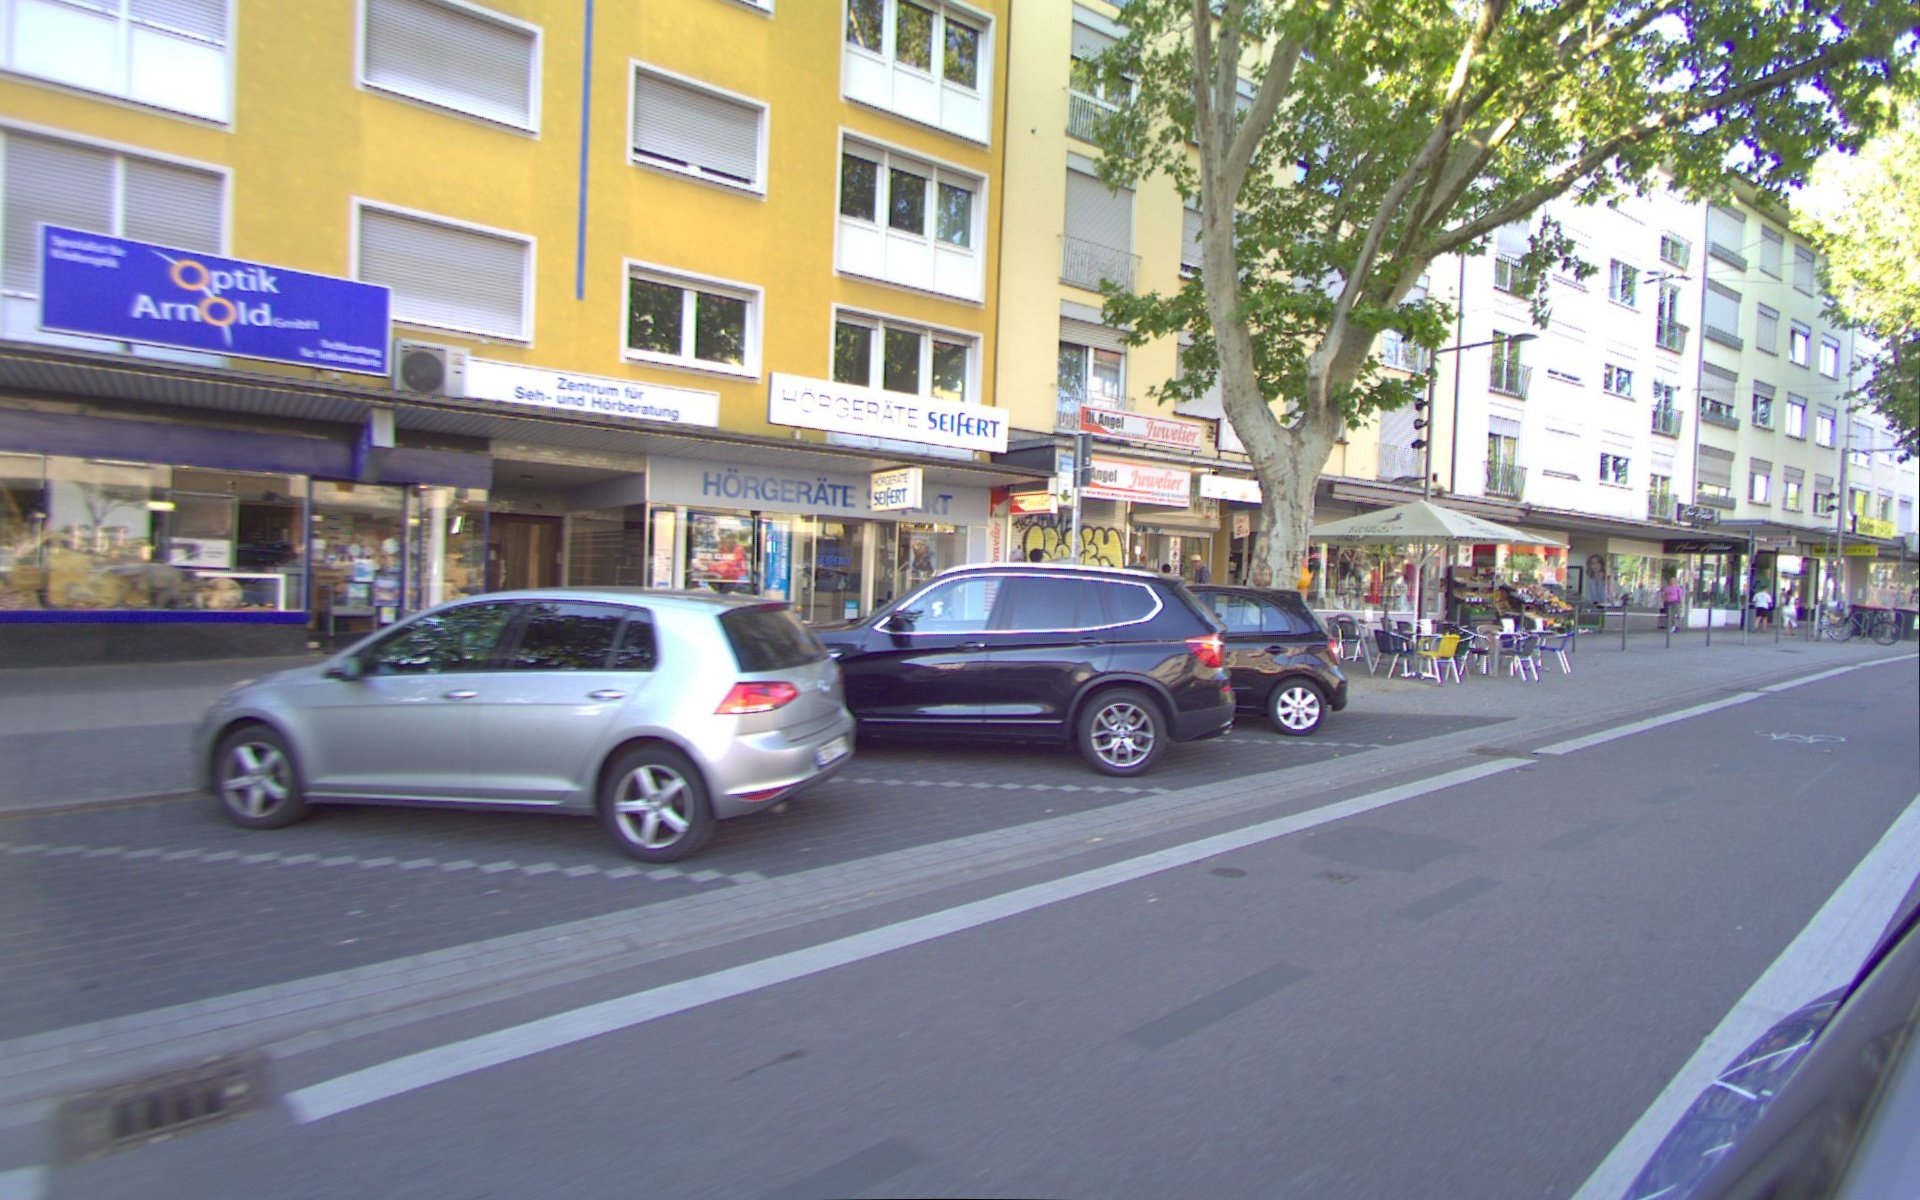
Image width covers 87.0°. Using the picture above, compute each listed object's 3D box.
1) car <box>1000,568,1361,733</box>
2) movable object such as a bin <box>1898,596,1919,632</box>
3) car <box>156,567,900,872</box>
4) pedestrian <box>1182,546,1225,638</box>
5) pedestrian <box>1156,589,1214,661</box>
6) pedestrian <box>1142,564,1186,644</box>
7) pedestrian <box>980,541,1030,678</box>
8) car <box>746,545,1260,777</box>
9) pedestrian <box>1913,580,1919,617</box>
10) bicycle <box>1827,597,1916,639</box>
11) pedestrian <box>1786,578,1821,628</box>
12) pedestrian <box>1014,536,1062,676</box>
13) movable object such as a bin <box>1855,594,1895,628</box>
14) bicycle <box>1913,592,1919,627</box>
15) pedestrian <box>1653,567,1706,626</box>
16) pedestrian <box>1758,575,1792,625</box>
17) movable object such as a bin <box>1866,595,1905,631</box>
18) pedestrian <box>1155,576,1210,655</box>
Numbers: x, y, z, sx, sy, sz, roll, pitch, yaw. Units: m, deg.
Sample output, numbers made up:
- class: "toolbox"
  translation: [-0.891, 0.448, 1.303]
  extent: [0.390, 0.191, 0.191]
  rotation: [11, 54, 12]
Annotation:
- class: "car"
  translation: [2.313, 0.463, 11.139]
  extent: [3.549, 1.559, 1.738]
  rotation: [2, 2, 9]
- class: "movable object such as a bin"
  translation: [31.333, 0.475, 33.075]
  extent: [0.631, 1.115, 0.726]
  rotation: [0, 6, -27]
- class: "car"
  translation: [-2.604, 0.569, 6.475]
  extent: [4.113, 1.469, 1.804]
  rotation: [2, 2, 12]
- class: "pedestrian"
  translation: [4.946, -0.173, 20.590]
  extent: [0.614, 1.826, 0.638]
  rotation: [1, 1, -5]
- class: "pedestrian"
  translation: [3.591, 0.383, 16.146]
  extent: [0.737, 1.129, 0.584]
  rotation: [0, 0, -40]
- class: "pedestrian"
  translation: [4.116, 0.071, 20.461]
  extent: [0.624, 1.564, 0.628]
  rotation: [1, 5, -10]
- class: "pedestrian"
  translation: [0.627, 0.116, 13.975]
  extent: [0.512, 1.855, 0.470]
  rotation: [2, 2, 28]
- class: "car"
  translation: [0.383, 0.424, 8.950]
  extent: [4.083, 1.701, 1.805]
  rotation: [2, 2, 9]
- class: "pedestrian"
  translation: [39.609, -0.052, 41.480]
  extent: [0.878, 1.520, 0.543]
  rotation: [2, 3, -33]
- class: "bicycle"
  translation: [27.968, 0.528, 31.093]
  extent: [0.507, 1.118, 1.918]
  rotation: [1, 4, -27]
- class: "pedestrian"
  translation: [27.751, 0.091, 33.309]
  extent: [0.615, 1.605, 0.638]
  rotation: [0, 4, -35]
- class: "pedestrian"
  translation: [1.060, 0.067, 13.677]
  extent: [0.510, 1.855, 0.472]
  rotation: [2, 1, 19]
- class: "movable object such as a bin"
  translation: [31.182, 0.379, 34.488]
  extent: [0.630, 1.085, 0.726]
  rotation: [1, 3, -15]
- class: "bicycle"
  translation: [33.444, 0.356, 34.158]
  extent: [0.731, 1.130, 1.724]
  rotation: [-4, 4, -33]
- class: "pedestrian"
  translation: [22.725, -0.125, 31.963]
  extent: [1.111, 1.784, 0.972]
  rotation: [0, 3, -33]
- class: "pedestrian"
  translation: [27.263, -0.004, 33.858]
  extent: [0.615, 1.605, 0.624]
  rotation: [0, 4, -35]
- class: "movable object such as a bin"
  translation: [30.858, 0.427, 33.758]
  extent: [0.632, 1.084, 0.725]
  rotation: [0, 8, -36]
- class: "pedestrian"
  translation: [3.759, 0.251, 17.081]
  extent: [0.745, 1.291, 0.584]
  rotation: [0, 0, -40]
